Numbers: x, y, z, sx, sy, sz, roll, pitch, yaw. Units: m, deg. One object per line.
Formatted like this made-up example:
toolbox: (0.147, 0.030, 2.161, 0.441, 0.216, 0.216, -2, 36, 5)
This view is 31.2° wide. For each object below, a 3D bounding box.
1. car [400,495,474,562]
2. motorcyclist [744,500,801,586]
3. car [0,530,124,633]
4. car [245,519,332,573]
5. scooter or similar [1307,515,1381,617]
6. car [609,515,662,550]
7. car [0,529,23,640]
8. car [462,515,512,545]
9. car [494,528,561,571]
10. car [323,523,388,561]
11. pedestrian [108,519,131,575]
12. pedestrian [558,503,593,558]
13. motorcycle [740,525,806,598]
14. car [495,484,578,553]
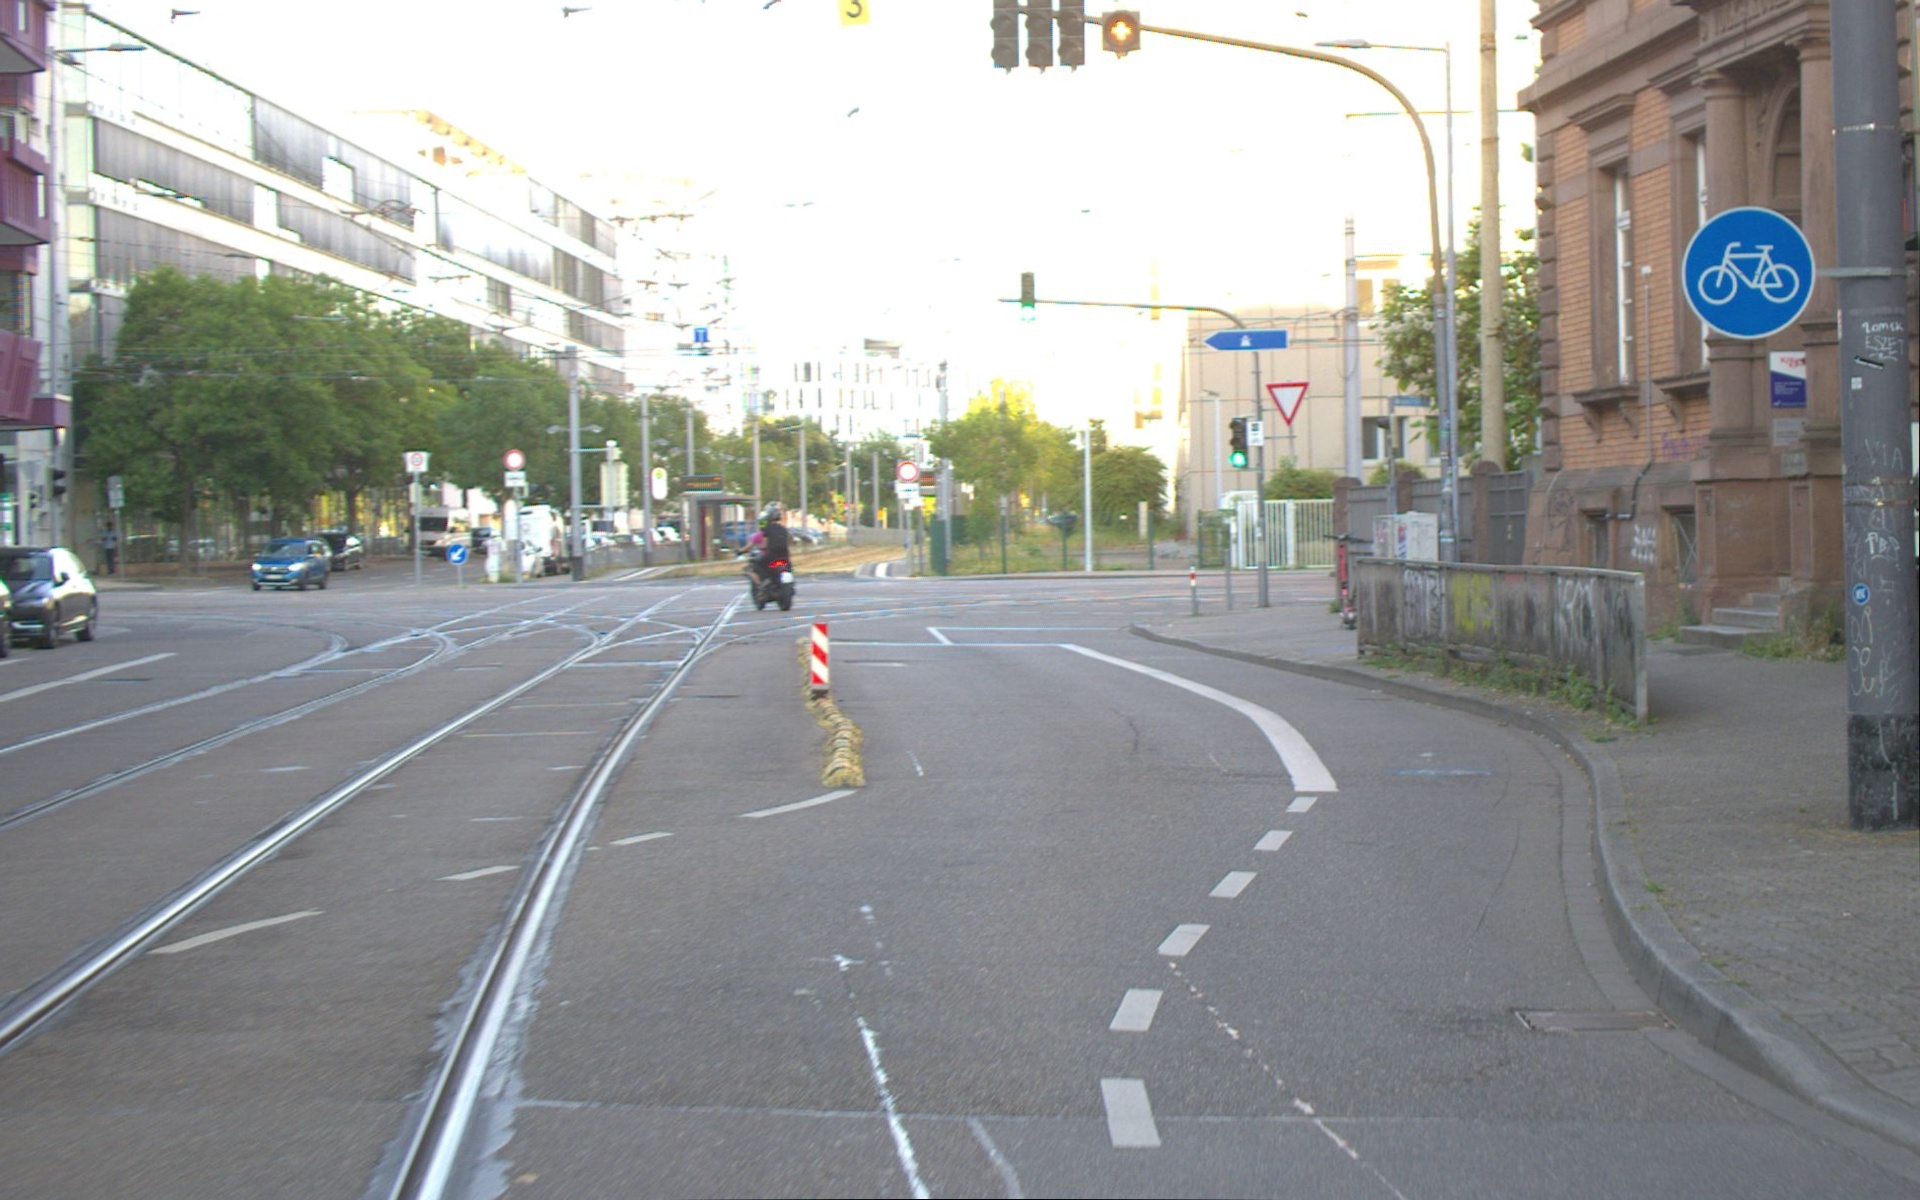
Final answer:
car: (-24.979, -3.452, 164.457, 2.201, 3.141, 6.142, -1, 2, 3)
motorcyclist: (-3.300, -1.009, 60.491, 0.828, 1.468, 1.207, -1, 1, -11)
car: (-13.997, -0.307, 51.822, 1.851, 1.451, 5.087, -1, 1, -4)
car: (-21.886, -1.769, 112.215, 1.683, 1.694, 4.239, -1, 2, 4)
scooter or similar: (4.969, -0.451, 44.505, 0.641, 1.261, 1.583, -3, 2, -3)
car: (-13.944, -2.900, 147.864, 1.683, 1.434, 4.126, -1, 2, 3)
car: (-13.871, -0.203, 45.948, 1.788, 1.503, 4.201, 1, 1, -4)
car: (-23.883, -3.552, 173.772, 1.683, 1.496, 4.239, -1, 2, 3)
car: (-15.423, -1.816, 122.685, 1.683, 1.434, 4.126, -1, 2, 3)
car: (-25.037, -2.422, 142.414, 1.683, 1.496, 4.239, -1, 2, 3)
pedestrian: (-29.363, -1.852, 120.119, 0.661, 1.915, 0.548, -2, 1, -8)
pedestrian: (-14.450, -2.611, 129.194, 1.039, 2.023, 0.984, -1, 2, -25)
motorcycle: (-3.305, -0.695, 60.548, 0.828, 1.235, 2.492, -1, 2, -11)
car: (-15.812, -3.053, 128.669, 2.461, 2.474, 5.809, -1, 2, -1)
